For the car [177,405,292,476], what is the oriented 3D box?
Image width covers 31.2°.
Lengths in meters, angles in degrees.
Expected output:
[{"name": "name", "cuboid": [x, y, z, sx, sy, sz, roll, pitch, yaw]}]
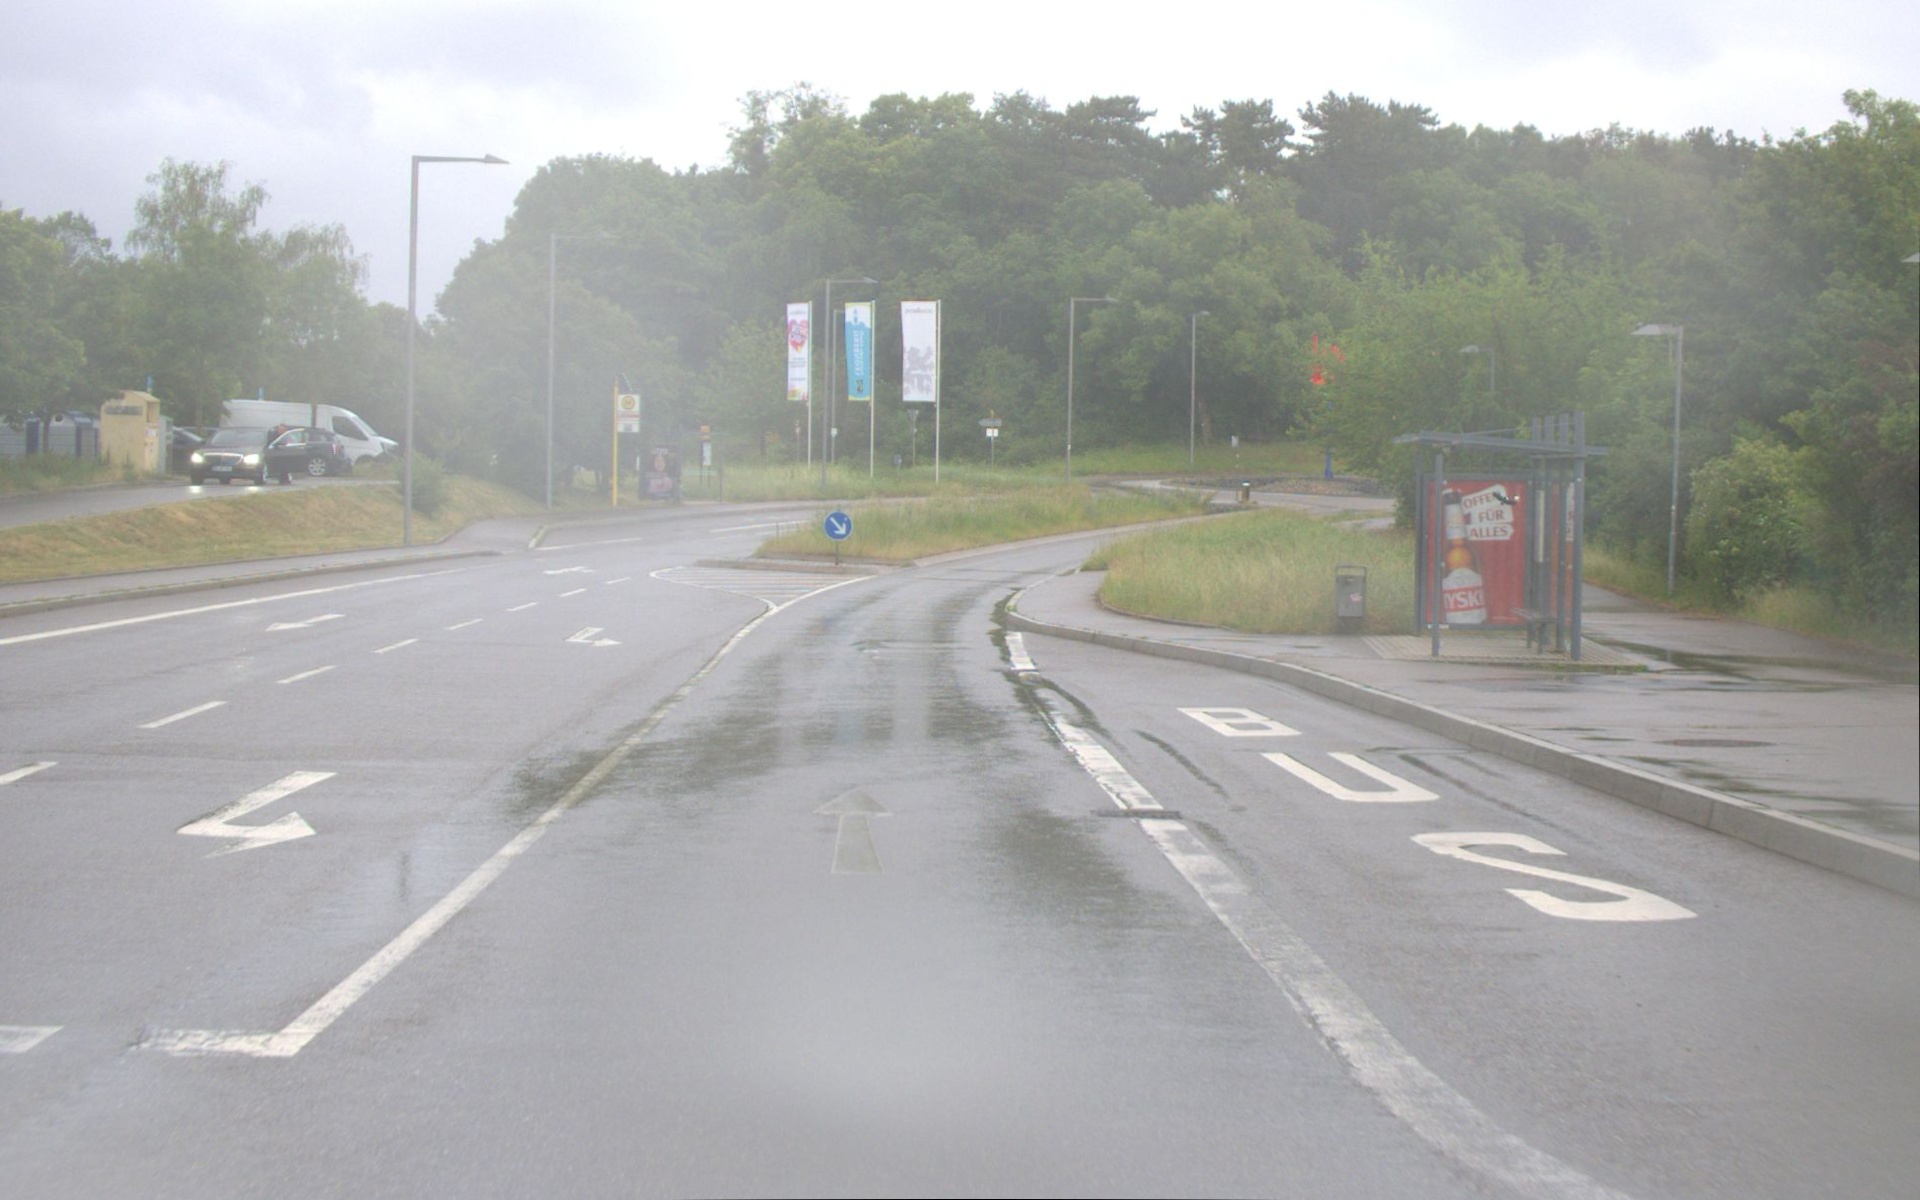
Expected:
[{"name": "car", "cuboid": [-18.529, -4.104, 87.979, 1.691, 1.562, 4.542, 4, 4, 3]}]

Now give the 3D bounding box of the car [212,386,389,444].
[{"name": "car", "cuboid": [-19.209, -5.391, 100.248, 4.707, 1.687, 2.005, 0, 3, 4]}]

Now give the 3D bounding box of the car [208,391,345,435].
[{"name": "car", "cuboid": [-22.244, -6.089, 111.973, 3.988, 1.359, 1.848, 2, 3, 6]}]

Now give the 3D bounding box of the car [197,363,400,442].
[{"name": "car", "cuboid": [-22.995, -6.864, 119.708, 6.555, 2.389, 2.139, 3, 2, 0]}]
